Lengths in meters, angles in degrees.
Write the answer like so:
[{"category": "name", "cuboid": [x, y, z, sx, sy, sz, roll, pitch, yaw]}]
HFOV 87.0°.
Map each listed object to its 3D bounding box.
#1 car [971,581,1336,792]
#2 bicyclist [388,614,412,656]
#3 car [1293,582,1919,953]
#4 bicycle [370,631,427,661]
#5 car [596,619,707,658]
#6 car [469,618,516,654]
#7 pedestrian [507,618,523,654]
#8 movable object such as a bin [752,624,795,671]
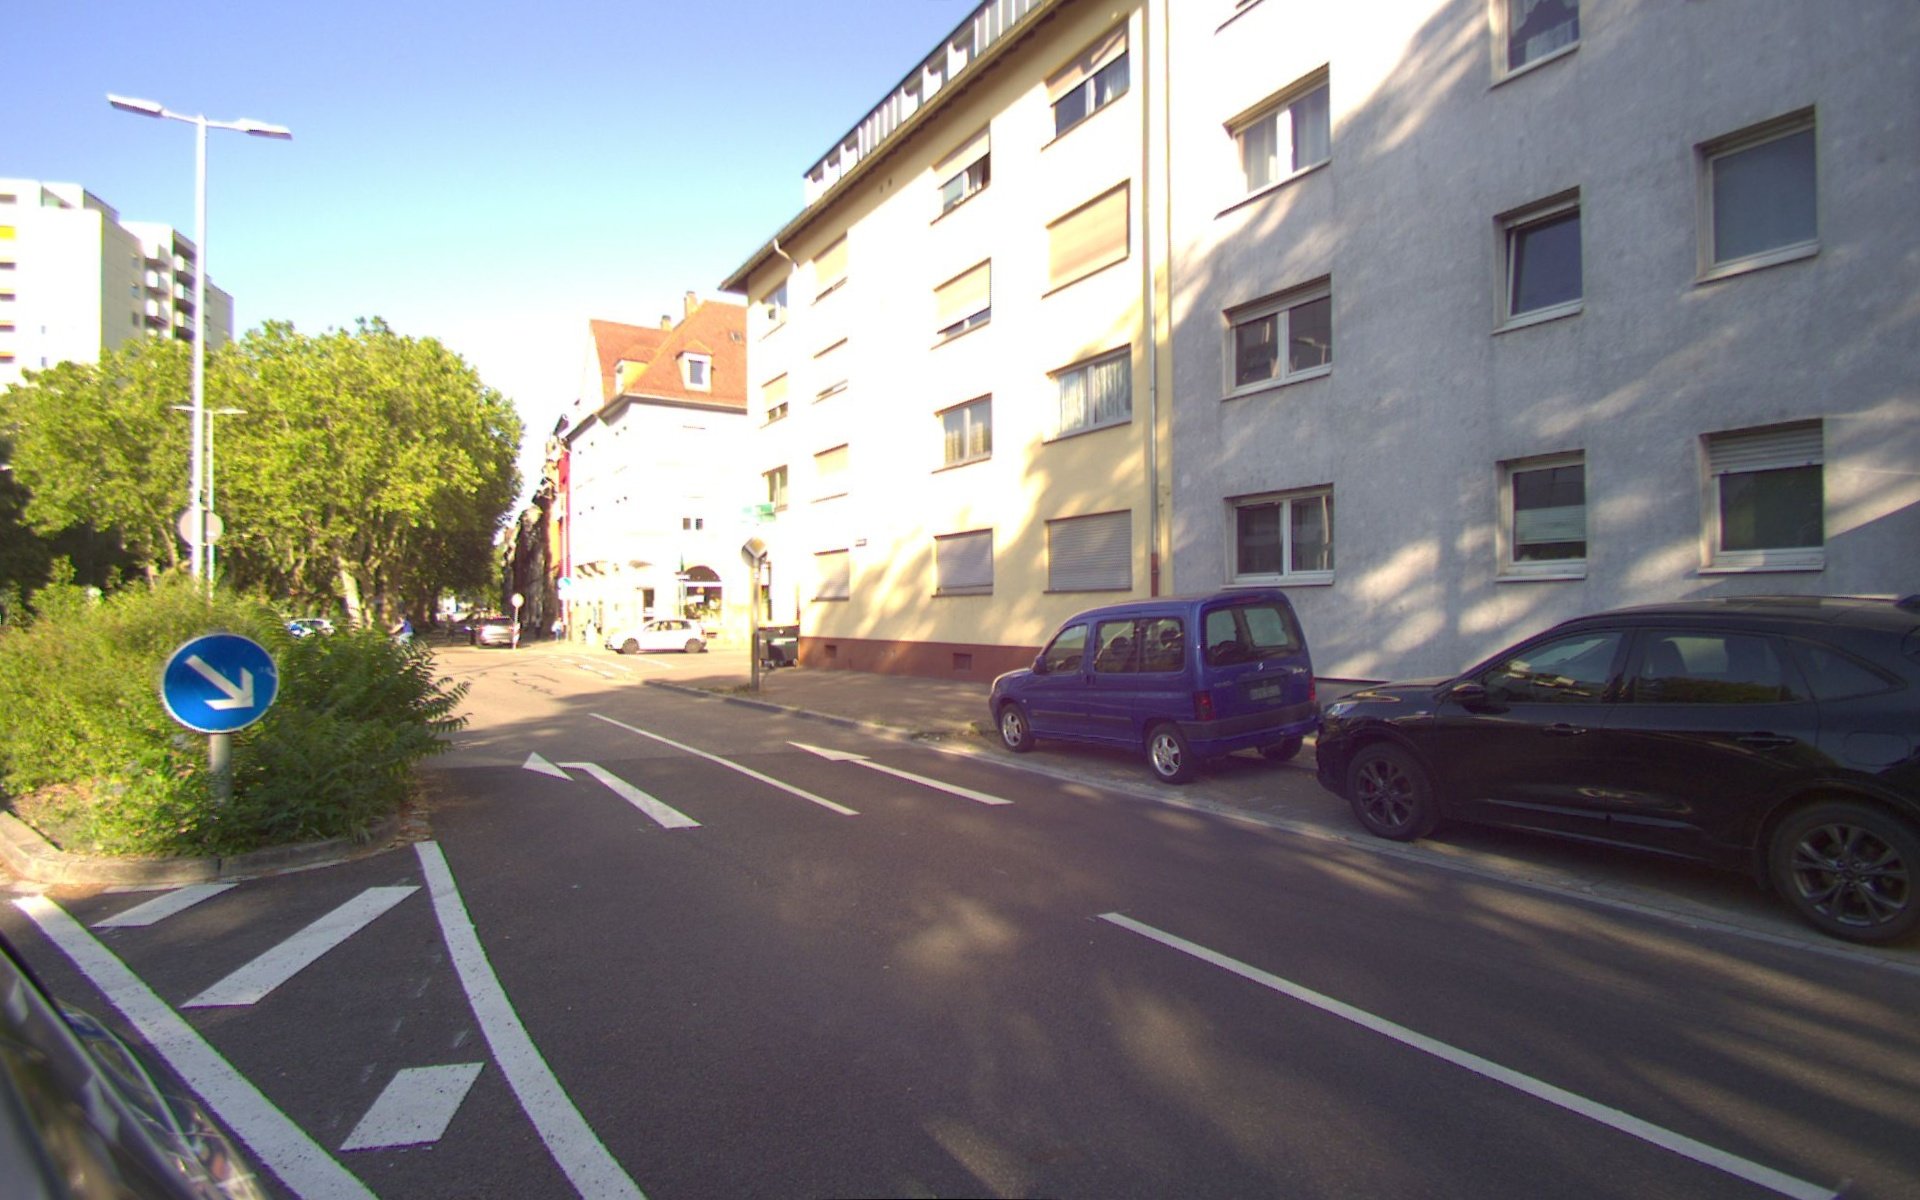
[{"category": "car", "cuboid": [1.887, 0.794, 11.101, 1.641, 1.832, 4.017, -2, 0, -30]}, {"category": "bicyclist", "cuboid": [-21.172, 1.327, 38.256, 0.738, 1.565, 0.632, 0, -1, -24]}, {"category": "car", "cuboid": [4.526, 0.777, 6.382, 1.879, 1.685, 4.507, -2, 0, -28]}, {"category": "bicycle", "cuboid": [-21.206, 1.716, 38.242, 1.837, 1.098, 0.629, 0, -1, -24]}, {"category": "car", "cuboid": [-12.824, 1.578, 42.107, 4.133, 1.523, 1.806, 0, -1, -29]}, {"category": "car", "cuboid": [-24.662, 1.861, 53.317, 1.867, 1.806, 4.012, 1, -1, -30]}, {"category": "pedestrian", "cuboid": [-21.562, 1.730, 49.042, 0.662, 1.725, 0.715, 0, -1, -22]}, {"category": "movable object such as a bin", "cuboid": [-5.323, 1.336, 28.868, 1.017, 1.296, 1.065, 0, -1, -21]}]
